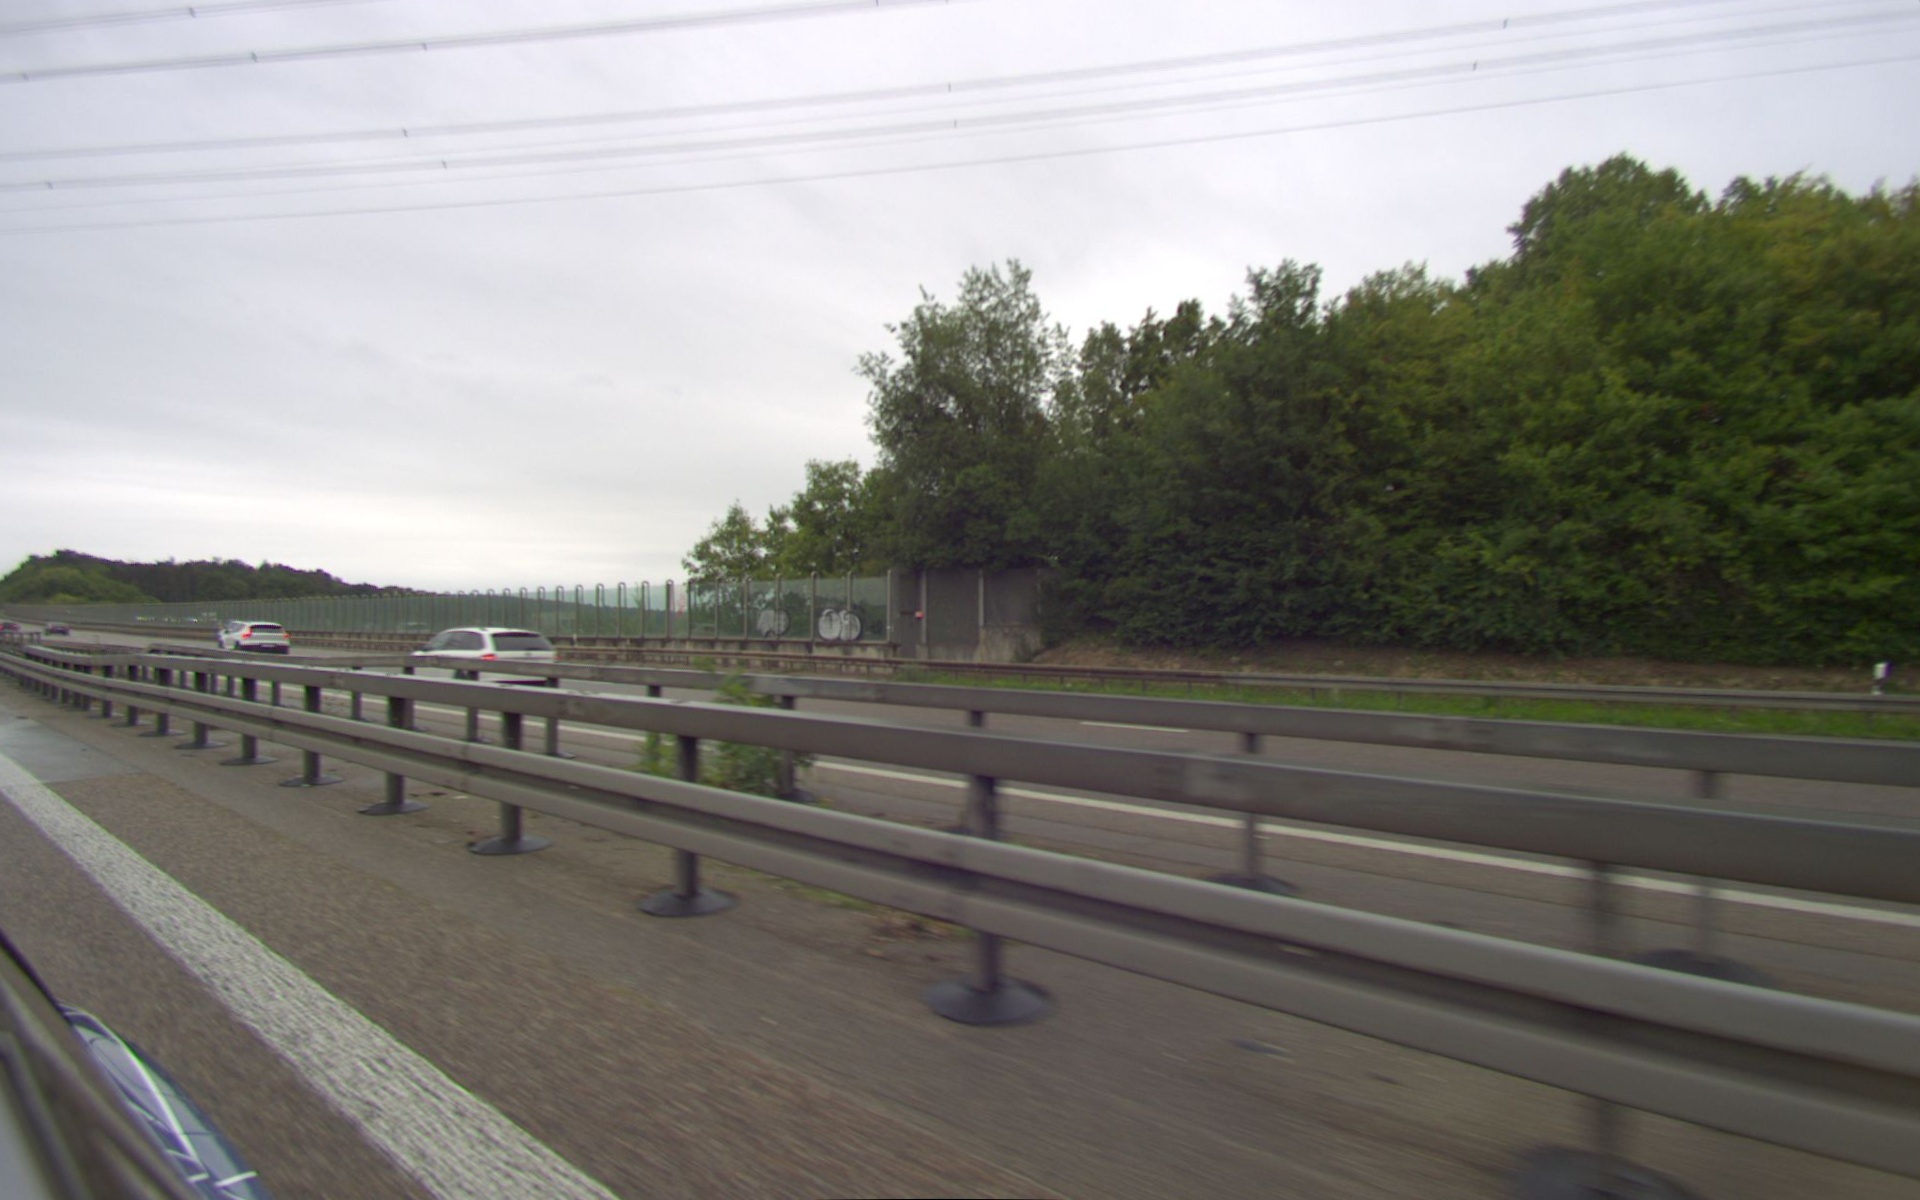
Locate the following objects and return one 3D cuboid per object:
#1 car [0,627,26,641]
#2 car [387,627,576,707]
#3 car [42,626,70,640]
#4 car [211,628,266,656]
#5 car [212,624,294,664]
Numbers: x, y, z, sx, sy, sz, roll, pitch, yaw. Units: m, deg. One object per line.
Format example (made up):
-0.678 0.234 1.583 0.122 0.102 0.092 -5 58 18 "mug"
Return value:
-107.255 3.819 114.519 3.813 1.511 1.809 -2 -3 41 "car"
-9.975 1.328 20.923 4.759 1.472 1.739 -1 -4 41 "car"
-98.328 3.608 110.040 3.813 1.511 1.809 -2 -3 41 "car"
-49.523 2.873 69.439 4.913 1.833 1.929 -2 -3 41 "car"
-31.402 1.914 44.877 4.711 1.678 1.885 -1 -3 41 "car"
